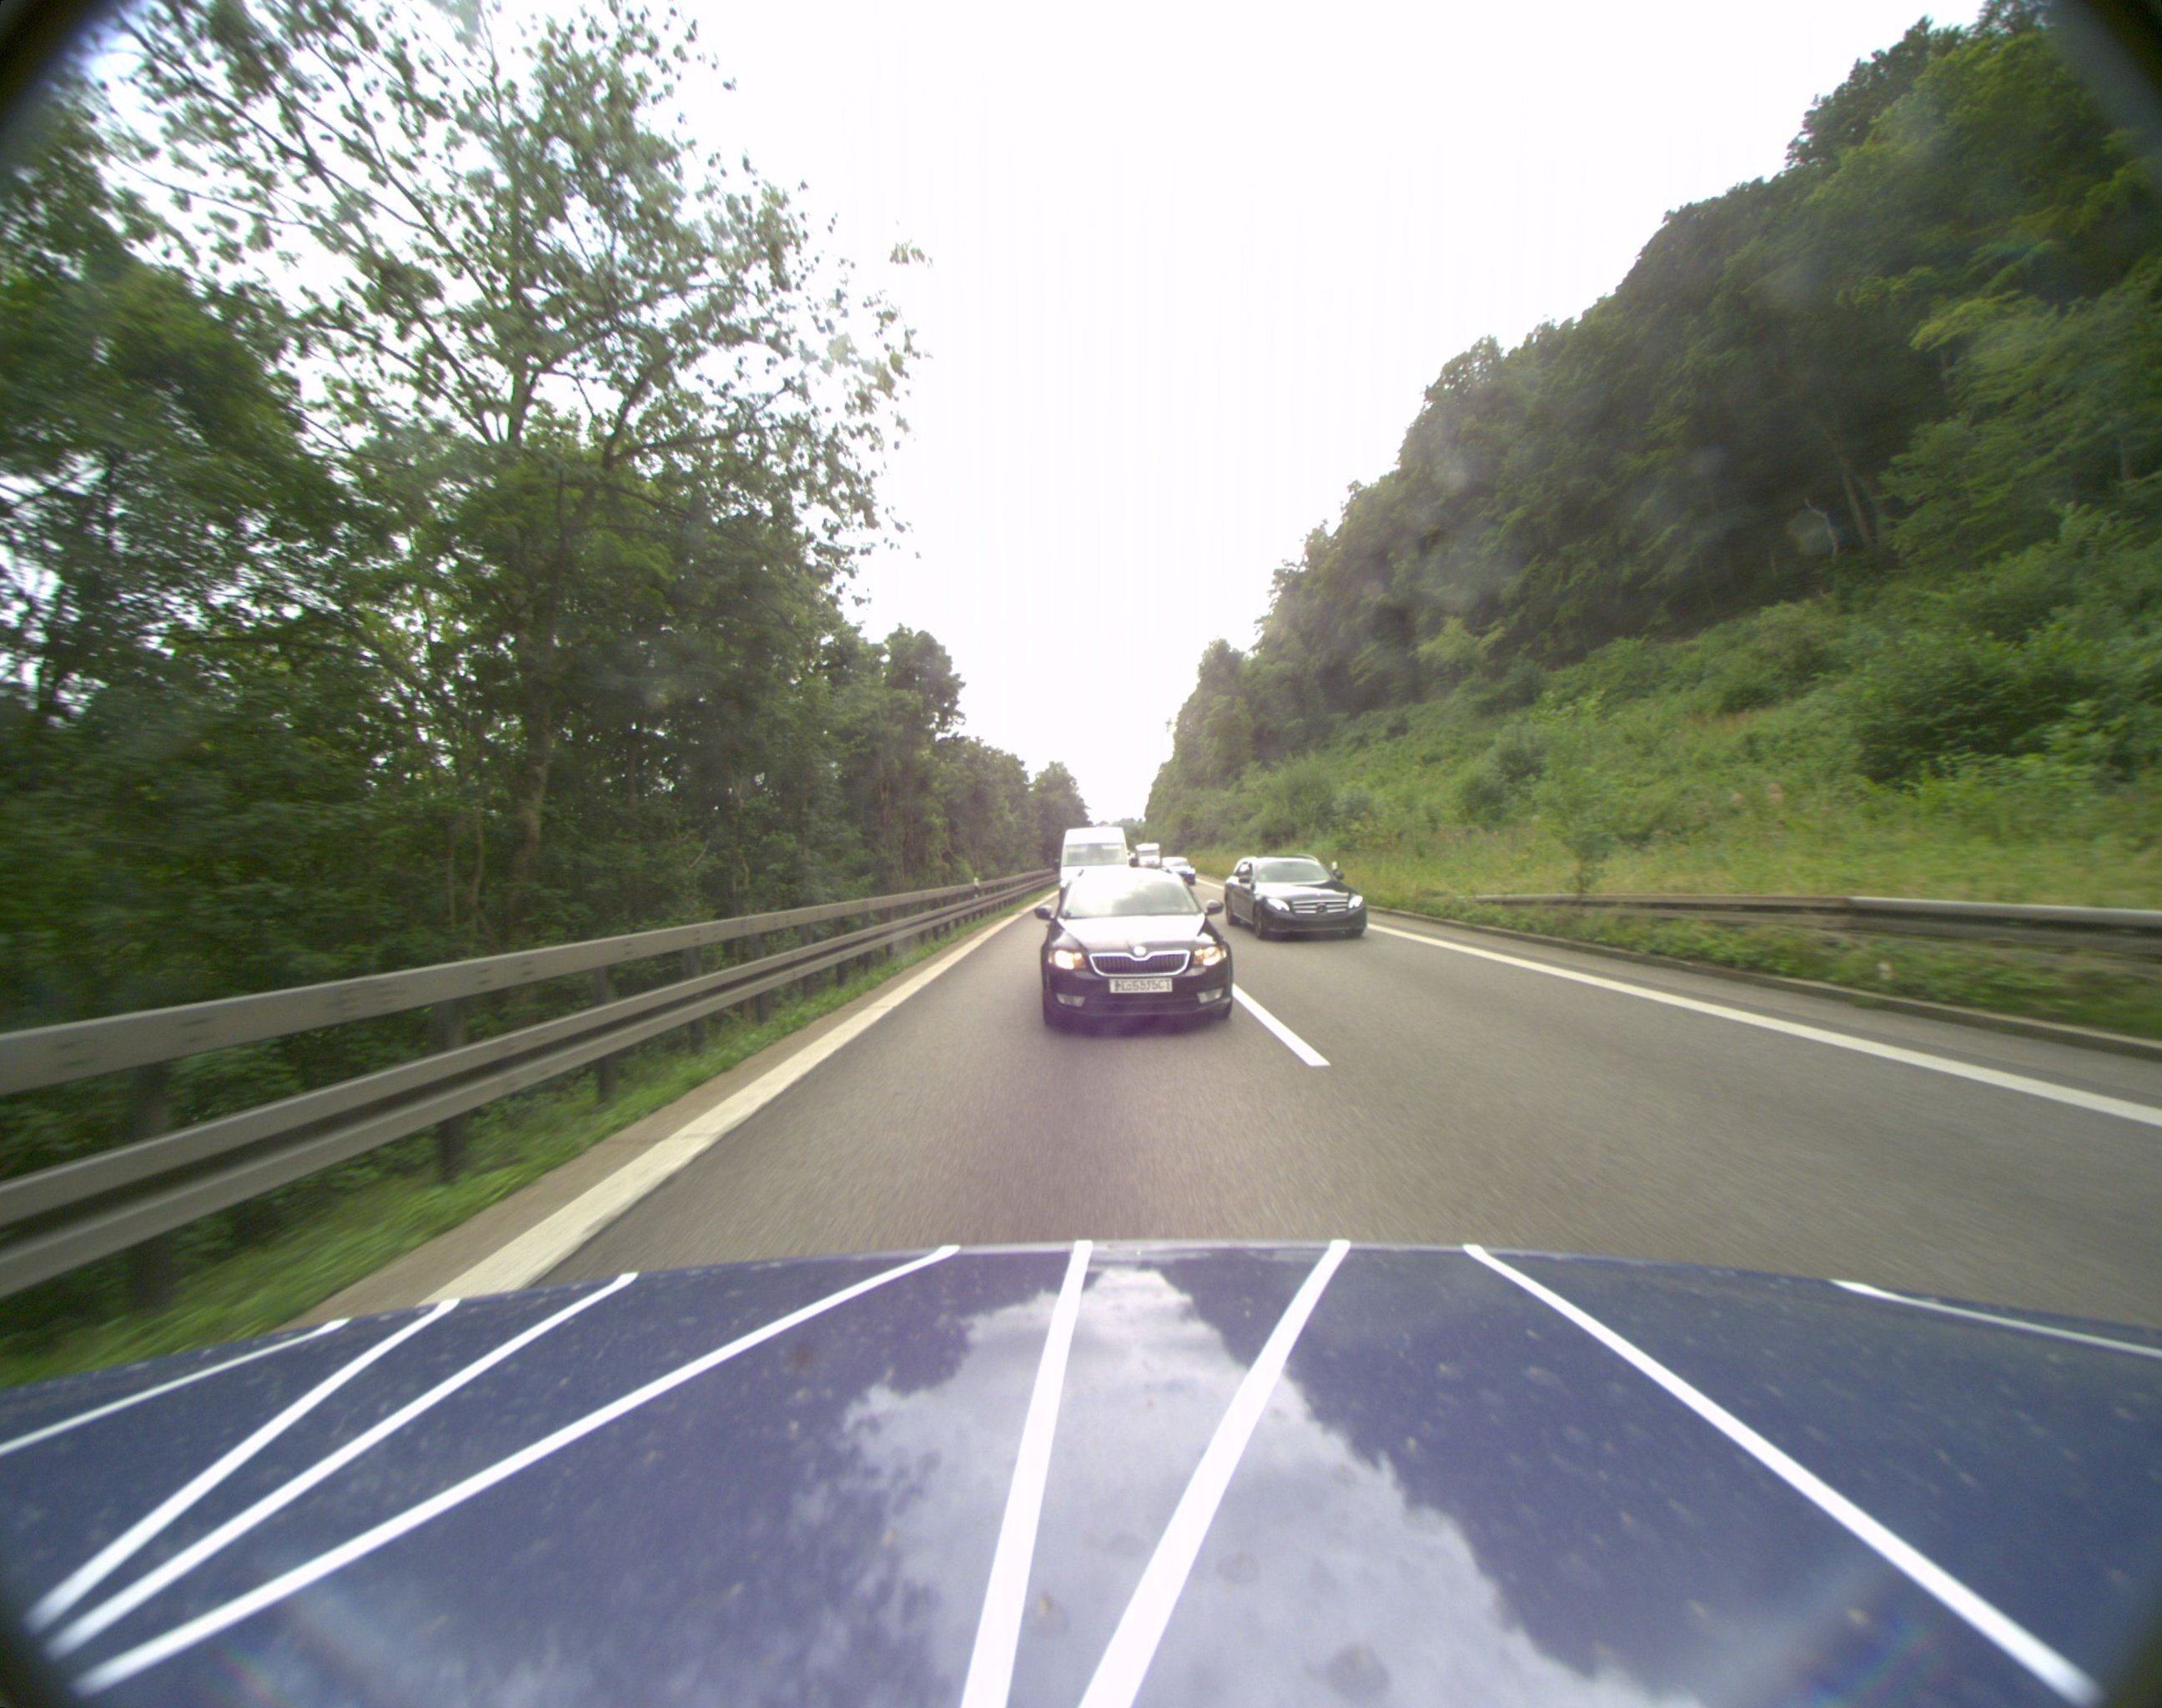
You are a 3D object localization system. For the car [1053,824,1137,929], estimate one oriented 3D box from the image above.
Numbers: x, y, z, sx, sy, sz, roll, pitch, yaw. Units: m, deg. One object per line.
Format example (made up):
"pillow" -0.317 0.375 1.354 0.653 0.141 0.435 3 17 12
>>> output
"car" 0.464 0.549 21.248 2.000 2.545 5.128 -2 0 3

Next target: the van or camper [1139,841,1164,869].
"van or camper" 7.164 0.139 78.228 2.270 2.719 7.026 -2 0 4

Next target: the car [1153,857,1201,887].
"car" 5.029 0.908 40.377 1.841 1.460 4.554 -2 0 -1

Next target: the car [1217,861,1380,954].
"car" 3.996 0.895 14.894 1.765 1.455 5.123 -2 0 1

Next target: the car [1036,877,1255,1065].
"car" 0.535 1.027 8.423 1.751 1.409 4.401 -2 -1 0
